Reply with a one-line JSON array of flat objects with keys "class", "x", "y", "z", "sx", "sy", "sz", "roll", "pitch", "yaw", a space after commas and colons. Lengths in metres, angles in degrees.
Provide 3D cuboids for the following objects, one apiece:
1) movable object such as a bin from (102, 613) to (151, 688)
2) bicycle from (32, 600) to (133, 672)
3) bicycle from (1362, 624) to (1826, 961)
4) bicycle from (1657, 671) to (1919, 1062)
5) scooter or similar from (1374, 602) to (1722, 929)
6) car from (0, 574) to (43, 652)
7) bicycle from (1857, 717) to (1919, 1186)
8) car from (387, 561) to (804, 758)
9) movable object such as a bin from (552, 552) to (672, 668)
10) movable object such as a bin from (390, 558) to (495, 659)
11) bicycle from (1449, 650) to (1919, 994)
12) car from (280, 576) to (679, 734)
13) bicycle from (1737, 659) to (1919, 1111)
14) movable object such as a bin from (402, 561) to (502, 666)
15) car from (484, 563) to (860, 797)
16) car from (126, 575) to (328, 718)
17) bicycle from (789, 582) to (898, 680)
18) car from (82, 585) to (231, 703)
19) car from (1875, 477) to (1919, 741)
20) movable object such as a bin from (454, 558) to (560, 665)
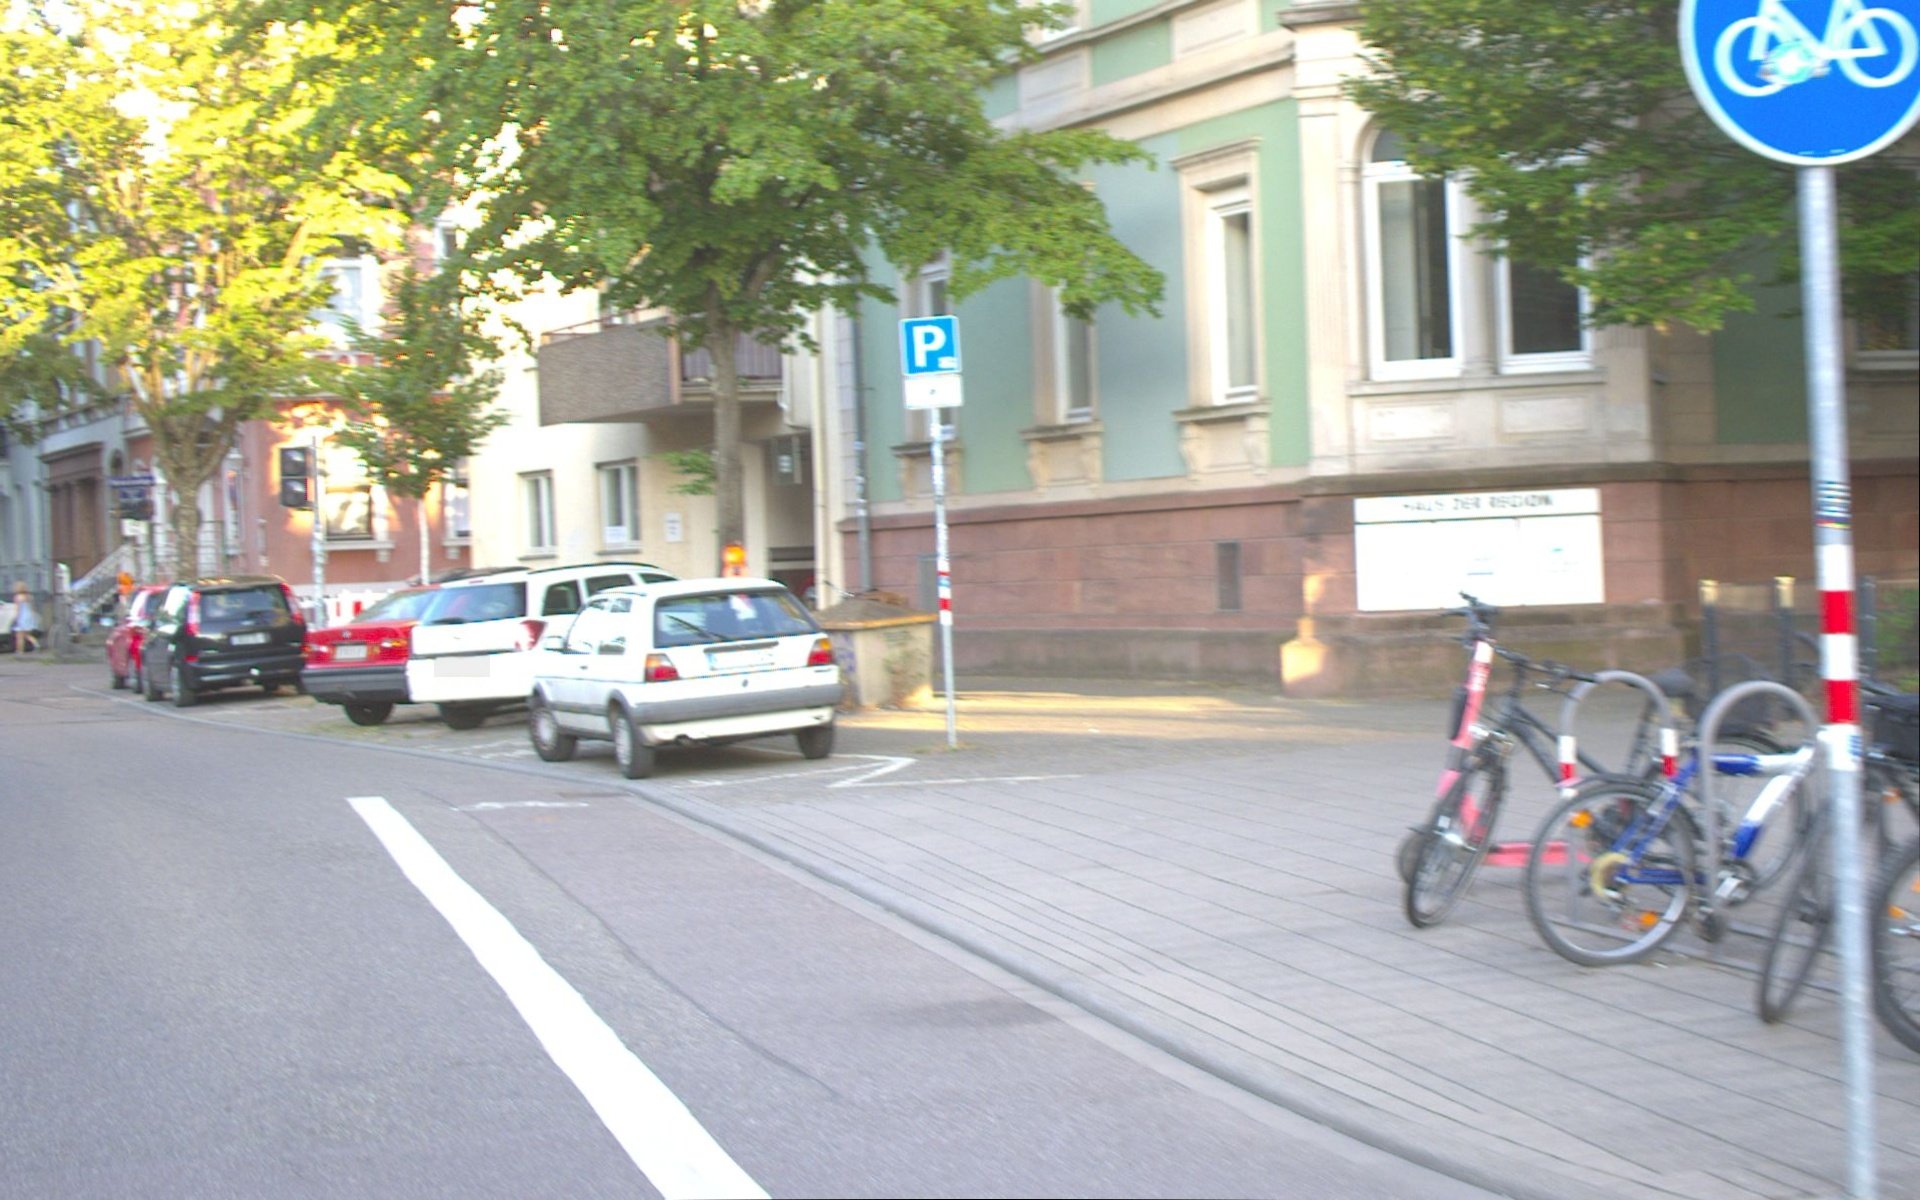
[{"class": "movable object such as a bin", "x": -13.173, "y": 0.796, "z": 54.331, "sx": 0.712, "sy": 1.149, "sz": 0.588, "roll": -2, "pitch": 0, "yaw": -13}, {"class": "bicycle", "x": -16.485, "y": 0.673, "z": 64.606, "sx": 0.600, "sy": 1.262, "sz": 1.915, "roll": -2, "pitch": 1, "yaw": 31}, {"class": "bicycle", "x": 2.377, "y": 0.701, "z": 12.977, "sx": 1.525, "sy": 1.159, "sz": 0.744, "roll": -2, "pitch": 1, "yaw": -10}, {"class": "bicycle", "x": 3.094, "y": 0.759, "z": 10.387, "sx": 1.754, "sy": 1.071, "sz": 0.744, "roll": -2, "pitch": 1, "yaw": -10}, {"class": "scooter or similar", "x": 2.398, "y": 0.658, "z": 14.072, "sx": 1.199, "sy": 1.221, "sz": 0.591, "roll": -4, "pitch": 1, "yaw": -11}, {"class": "car", "x": -22.135, "y": 0.403, "z": 74.904, "sx": 1.672, "sy": 1.621, "sz": 3.948, "roll": -2, "pitch": 3, "yaw": 35}, {"class": "bicycle", "x": 3.221, "y": 0.820, "z": 8.424, "sx": 1.860, "sy": 1.071, "sz": 0.744, "roll": -2, "pitch": 1, "yaw": 6}, {"class": "car", "x": -3.490, "y": 0.532, "z": 33.632, "sx": 1.720, "sy": 1.719, "sz": 4.202, "roll": -1, "pitch": 1, "yaw": 34}, {"class": "movable object such as a bin", "x": -4.645, "y": 0.130, "z": 45.825, "sx": 1.113, "sy": 1.497, "sz": 1.482, "roll": -2, "pitch": 1, "yaw": -25}, {"class": "movable object such as a bin", "x": -8.015, "y": 0.128, "z": 53.210, "sx": 1.140, "sy": 1.497, "sz": 1.598, "roll": -2, "pitch": 1, "yaw": -25}, {"class": "bicycle", "x": 2.571, "y": 0.745, "z": 11.920, "sx": 1.550, "sy": 1.071, "sz": 0.744, "roll": -2, "pitch": 1, "yaw": -10}, {"class": "car", "x": -4.938, "y": 0.541, "z": 35.854, "sx": 1.643, "sy": 1.449, "sz": 4.202, "roll": -1, "pitch": 1, "yaw": 36}, {"class": "bicycle", "x": 3.375, "y": 0.704, "z": 9.505, "sx": 2.230, "sy": 1.128, "sz": 0.744, "roll": -3, "pitch": 1, "yaw": -10}, {"class": "movable object such as a bin", "x": -7.546, "y": 0.200, "z": 51.023, "sx": 1.072, "sy": 1.497, "sz": 1.319, "roll": -2, "pitch": 1, "yaw": -27}, {"class": "car", "x": -2.339, "y": 0.578, "z": 26.957, "sx": 1.680, "sy": 1.547, "sz": 4.001, "roll": -5, "pitch": 2, "yaw": -22}, {"class": "car", "x": -9.437, "y": 0.567, "z": 44.037, "sx": 1.743, "sy": 1.626, "sz": 4.089, "roll": -4, "pitch": 1, "yaw": -22}, {"class": "bicycle", "x": -1.341, "y": 0.346, "z": 39.204, "sx": 0.650, "sy": 1.071, "sz": 1.556, "roll": -2, "pitch": 1, "yaw": -25}, {"class": "car", "x": -11.671, "y": 0.608, "z": 49.778, "sx": 1.564, "sy": 1.530, "sz": 3.694, "roll": -4, "pitch": 1, "yaw": -20}, {"class": "car", "x": 7.721, "y": -0.007, "z": 20.443, "sx": 3.983, "sy": 1.568, "sz": 1.804, "roll": -2, "pitch": 2, "yaw": -12}, {"class": "movable object such as a bin", "x": -6.584, "y": 0.156, "z": 49.940, "sx": 1.140, "sy": 1.497, "sz": 1.271, "roll": -2, "pitch": 1, "yaw": -25}]
